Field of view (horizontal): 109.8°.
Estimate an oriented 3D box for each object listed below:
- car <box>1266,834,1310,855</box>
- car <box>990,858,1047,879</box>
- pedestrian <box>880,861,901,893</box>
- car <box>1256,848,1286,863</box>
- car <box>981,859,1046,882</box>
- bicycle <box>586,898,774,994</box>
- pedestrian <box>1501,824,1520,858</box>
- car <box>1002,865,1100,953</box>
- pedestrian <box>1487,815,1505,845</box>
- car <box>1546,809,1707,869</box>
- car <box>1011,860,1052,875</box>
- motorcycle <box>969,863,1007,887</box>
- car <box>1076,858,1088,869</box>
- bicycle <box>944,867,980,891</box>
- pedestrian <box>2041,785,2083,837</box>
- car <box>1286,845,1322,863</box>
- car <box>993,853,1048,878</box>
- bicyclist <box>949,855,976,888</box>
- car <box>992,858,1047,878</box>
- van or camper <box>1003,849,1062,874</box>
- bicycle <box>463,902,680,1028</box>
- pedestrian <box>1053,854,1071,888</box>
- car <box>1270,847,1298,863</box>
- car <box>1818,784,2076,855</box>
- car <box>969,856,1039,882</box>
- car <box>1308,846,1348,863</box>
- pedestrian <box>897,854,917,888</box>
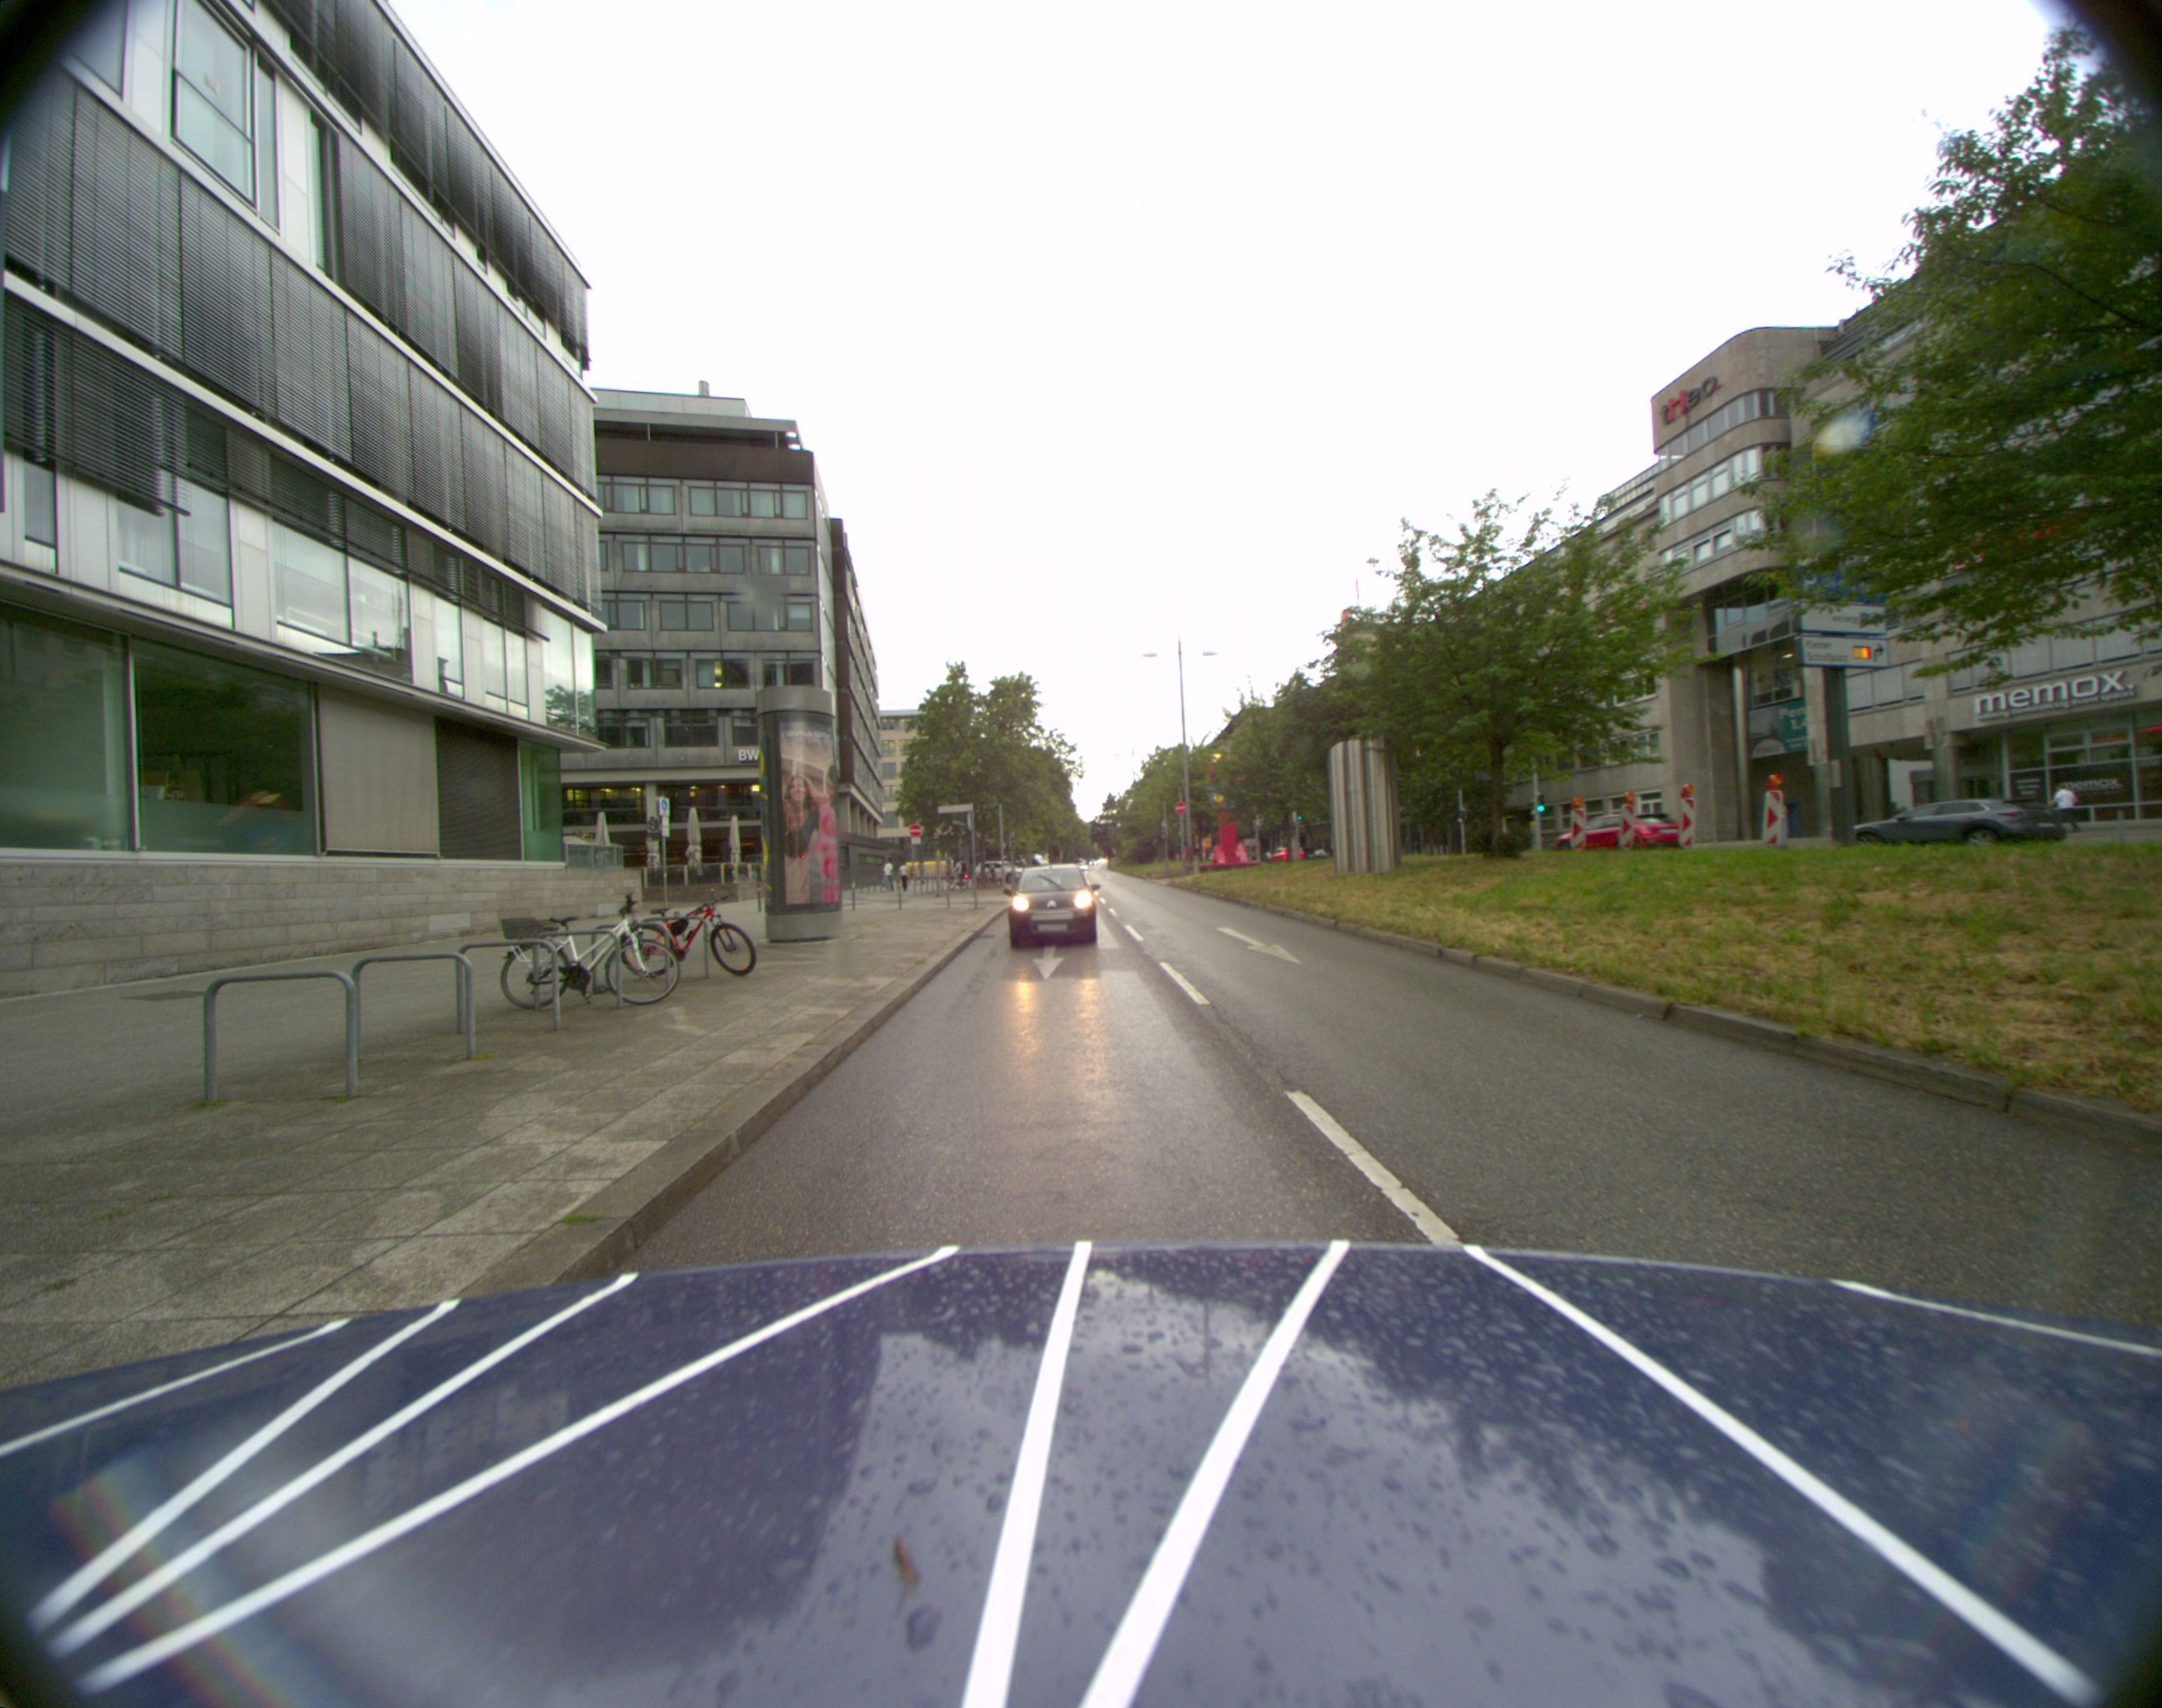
[{"bbox_3d":[15.357,-0.695,56.567,1.867,1.421,4.131,-2,-1,-4],"label":"car"},{"bbox_3d":[-5.225,1.205,63.579,4.347,1.528,1.919,-4,0,27],"label":"car"},{"bbox_3d":[-11.436,1.353,45.675,0.802,1.857,0.899,-3,0,10],"label":"pedestrian"},{"bbox_3d":[20.371,0.172,81.631,1.791,1.478,4.574,-2,-1,-3],"label":"car"},{"bbox_3d":[-5.232,1.263,58.550,4.711,1.465,1.920,-4,0,32],"label":"car"},{"bbox_3d":[-5.135,1.168,9.805,1.988,1.097,0.808,-2,0,4],"label":"bicycle"},{"bbox_3d":[23.341,-0.693,41.254,0.529,1.777,0.721,-3,0,1],"label":"pedestrian"},{"bbox_3d":[-0.596,0.985,15.098,1.634,1.408,3.834,-3,0,-2],"label":"car"},{"bbox_3d":[23.069,-1.348,42.244,0.607,1.619,0.620,-3,0,1],"label":"pedestrian"},{"bbox_3d":[17.373,-0.432,24.481,1.951,1.690,3.997,-3,0,-8],"label":"car"},{"bbox_3d":[-5.384,1.476,82.693,4.052,1.415,1.711,-4,0,29],"label":"car"},{"bbox_3d":[-5.643,1.257,46.058,2.087,1.349,0.677,-3,0,7],"label":"motorcycle"},{"bbox_3d":[0.118,1.563,128.249,1.791,1.736,4.574,-2,0,-3],"label":"car"},{"bbox_3d":[-6.673,1.419,42.675,1.973,1.132,0.778,-6,0,40],"label":"bicycle"},{"bbox_3d":[34.969,-1.537,27.089,0.721,1.777,0.529,-3,0,-2],"label":"pedestrian"},{"bbox_3d":[21.080,0.004,72.093,1.867,1.612,4.467,-2,0,-3],"label":"car"},{"bbox_3d":[-5.535,1.084,69.246,4.507,1.981,1.925,-4,0,29],"label":"car"},{"bbox_3d":[-6.657,0.999,42.634,1.077,1.739,0.813,-5,2,40],"label":"bicyclist"},{"bbox_3d":[-5.371,1.222,66.364,4.381,1.528,1.919,-4,0,27],"label":"car"},{"bbox_3d":[-5.530,0.871,86.358,6.250,2.432,2.319,-4,0,30],"label":"van or camper"},{"bbox_3d":[-5.295,1.141,7.953,1.840,1.190,0.660,-1,0,4],"label":"bicycle"},{"bbox_3d":[-0.968,0.857,38.939,0.528,1.675,0.722,-3,0,27],"label":"pedestrian"},{"bbox_3d":[20.571,0.119,77.082,1.690,1.493,3.692,-2,0,-3],"label":"car"},{"bbox_3d":[24.738,-0.901,22.052,1.867,1.715,4.791,-2,0,-3],"label":"car"},{"bbox_3d":[-5.641,1.122,55.598,4.792,1.640,1.920,-4,0,30],"label":"car"},{"bbox_3d":[21.680,0.053,66.907,1.867,1.421,4.565,-2,-1,-3],"label":"car"},{"bbox_3d":[-10.493,1.017,45.825,0.851,2.027,0.753,-3,0,8],"label":"pedestrian"}]
